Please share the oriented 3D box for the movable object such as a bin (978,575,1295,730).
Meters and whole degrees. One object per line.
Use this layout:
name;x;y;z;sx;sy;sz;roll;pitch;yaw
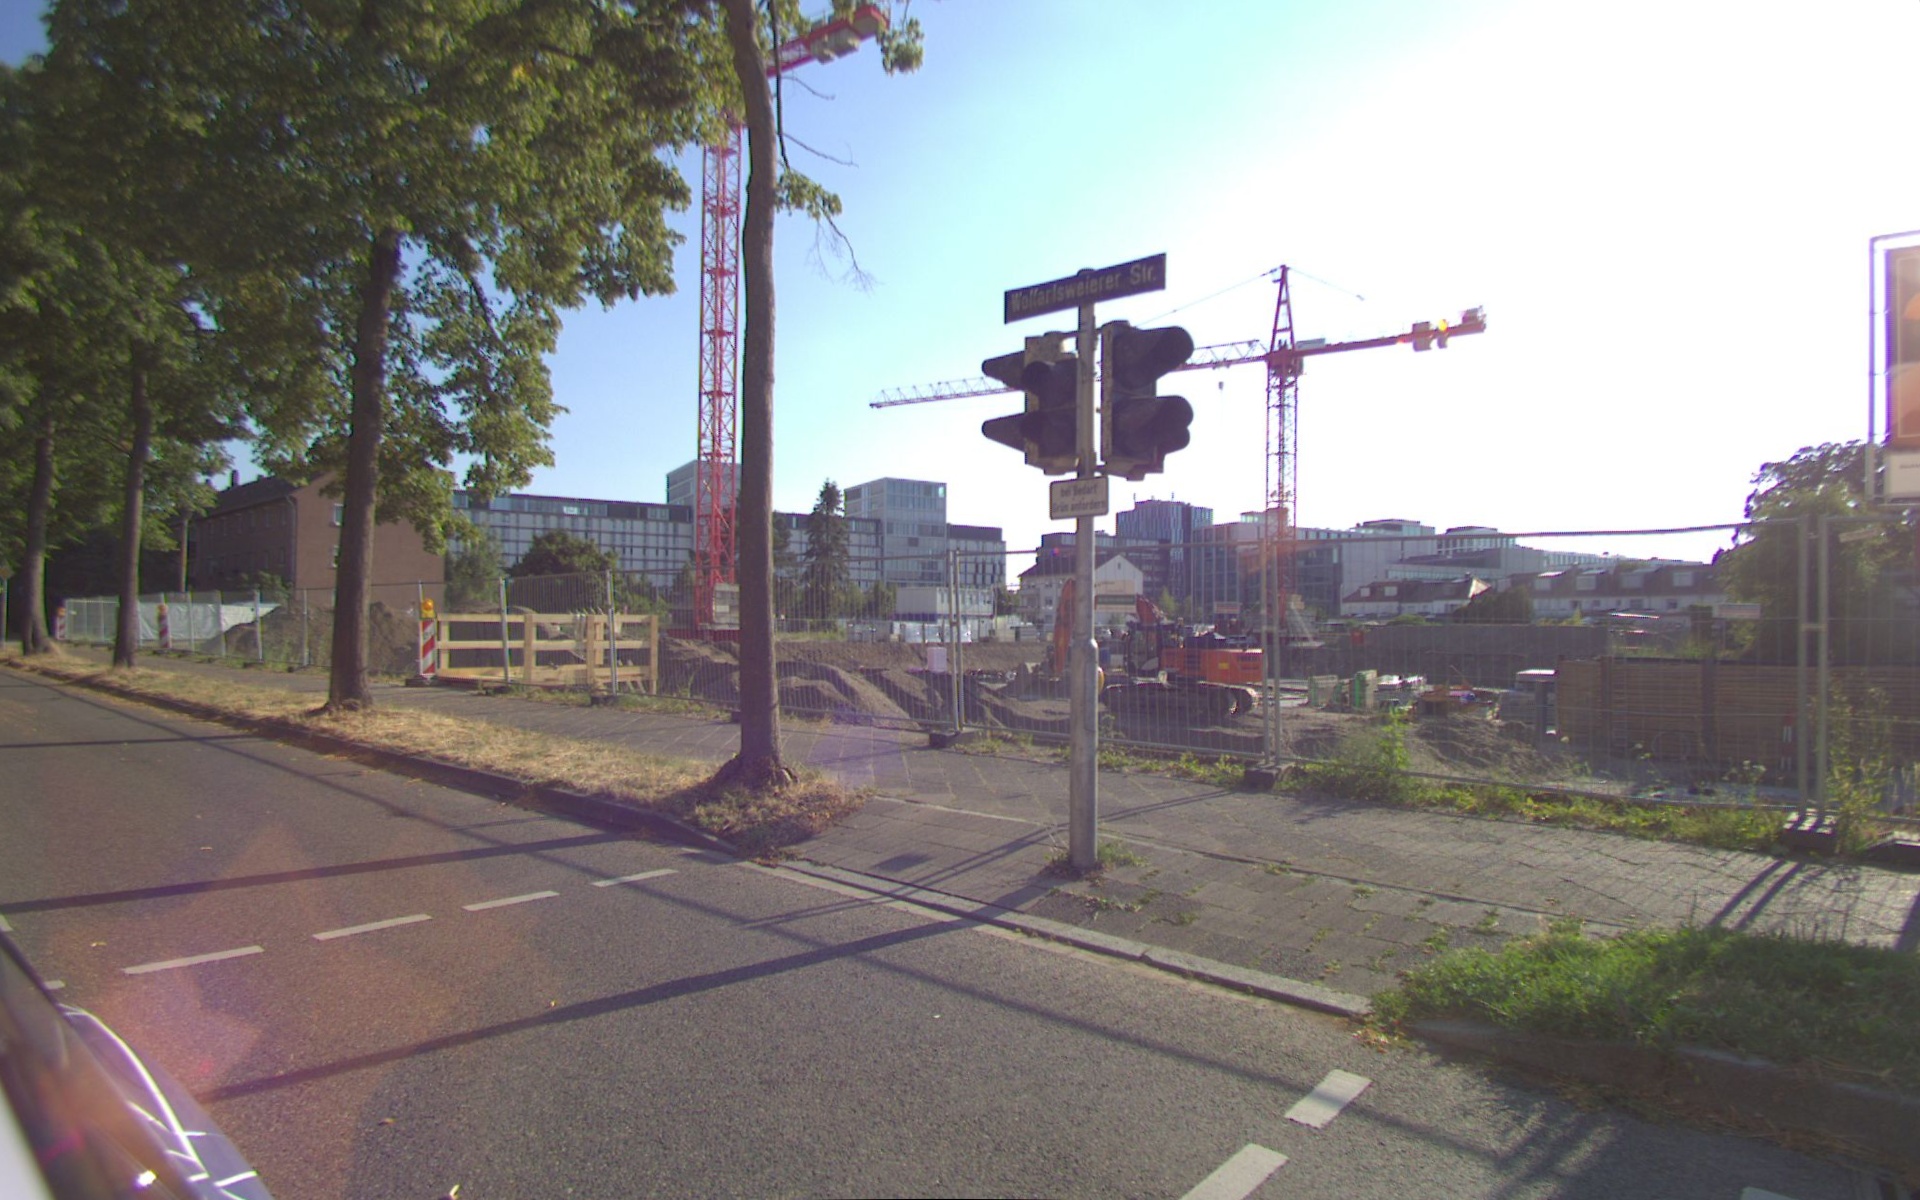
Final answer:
movable object such as a bin;6.331;1.666;39.144;4.037;5.102;12.239;0;1;-42
